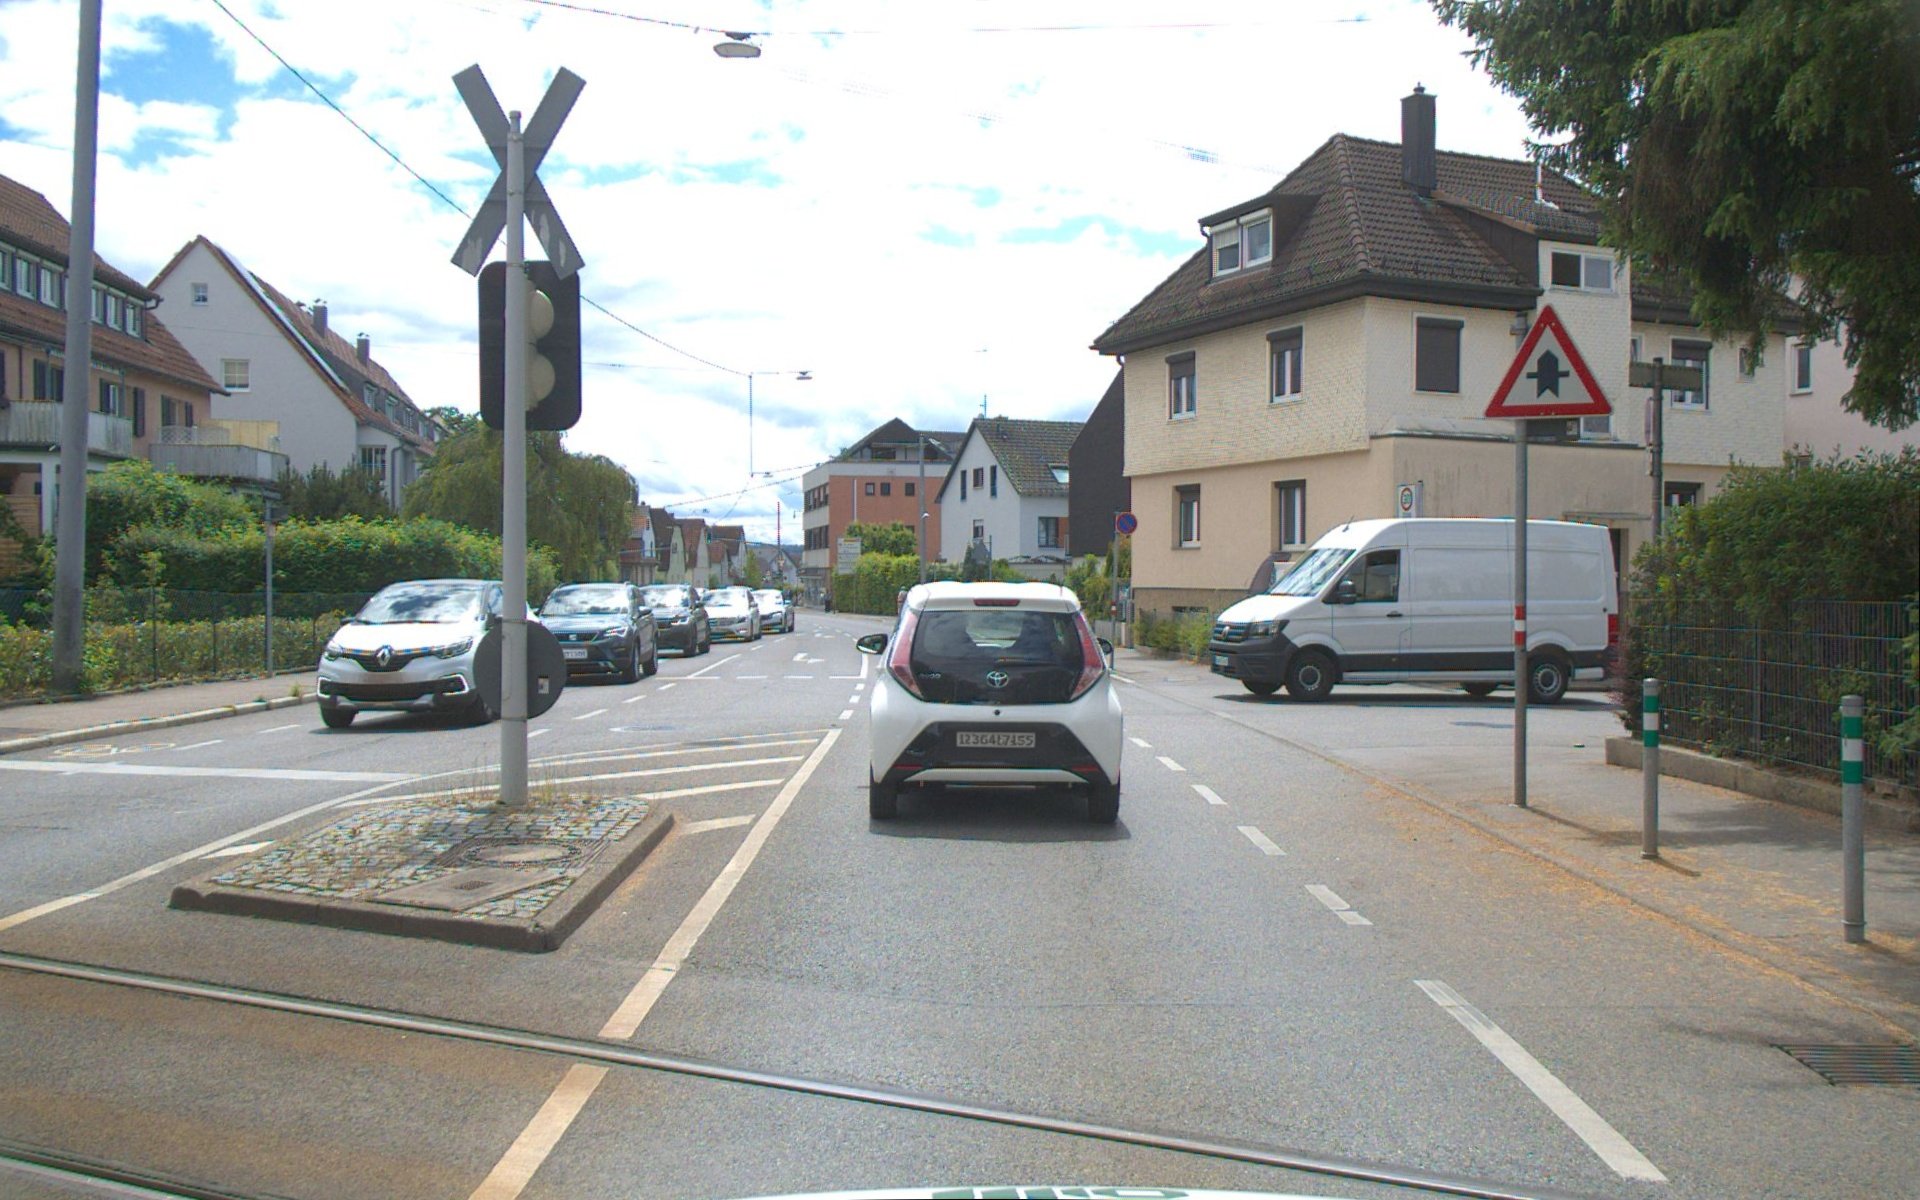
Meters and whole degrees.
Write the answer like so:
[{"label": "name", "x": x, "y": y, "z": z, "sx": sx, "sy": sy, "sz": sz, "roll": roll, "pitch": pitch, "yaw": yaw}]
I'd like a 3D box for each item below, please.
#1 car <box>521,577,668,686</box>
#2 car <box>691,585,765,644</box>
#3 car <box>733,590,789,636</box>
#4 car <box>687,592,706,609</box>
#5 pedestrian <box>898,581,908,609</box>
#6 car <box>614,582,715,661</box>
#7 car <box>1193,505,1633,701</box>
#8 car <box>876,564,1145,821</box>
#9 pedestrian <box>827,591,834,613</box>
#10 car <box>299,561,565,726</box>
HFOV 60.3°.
[{"label": "car", "x": -6.027, "y": 0.474, "z": 27.699, "sx": 1.740, "sy": 1.631, "sz": 4.036, "roll": -2, "pitch": 1, "yaw": -3}, {"label": "car", "x": -6.818, "y": 0.383, "z": 49.019, "sx": 1.740, "sy": 1.589, "sz": 4.167, "roll": -3, "pitch": 1, "yaw": -3}, {"label": "car", "x": -6.882, "y": 0.407, "z": 57.429, "sx": 1.741, "sy": 1.455, "sz": 4.517, "roll": -3, "pitch": 1, "yaw": -5}, {"label": "car", "x": -27.840, "y": 0.031, "z": 174.816, "sx": 1.957, "sy": 1.713, "sz": 3.991, "roll": 2, "pitch": 0, "yaw": -9}, {"label": "pedestrian", "x": -2.937, "y": -0.271, "z": 85.504, "sx": 0.406, "sy": 1.463, "sz": 0.435, "roll": 1, "pitch": 0, "yaw": -18}, {"label": "car", "x": -6.728, "y": 0.448, "z": 38.079, "sx": 1.740, "sy": 1.631, "sz": 4.166, "roll": -3, "pitch": 1, "yaw": -3}, {"label": "car", "x": 6.486, "y": 0.011, "z": 23.824, "sx": 5.892, "sy": 2.626, "sz": 1.994, "roll": 0, "pitch": 1, "yaw": -13}, {"label": "car", "x": 0.214, "y": 0.517, "z": 11.792, "sx": 1.588, "sy": 1.512, "sz": 3.998, "roll": 0, "pitch": 1, "yaw": -3}, {"label": "pedestrian", "x": -8.612, "y": 0.111, "z": 110.130, "sx": 0.405, "sy": 1.463, "sz": 0.437, "roll": 1, "pitch": 0, "yaw": -10}, {"label": "car", "x": -5.834, "y": 0.464, "z": 18.787, "sx": 1.739, "sy": 1.631, "sz": 4.038, "roll": -1, "pitch": -1, "yaw": -1}]
